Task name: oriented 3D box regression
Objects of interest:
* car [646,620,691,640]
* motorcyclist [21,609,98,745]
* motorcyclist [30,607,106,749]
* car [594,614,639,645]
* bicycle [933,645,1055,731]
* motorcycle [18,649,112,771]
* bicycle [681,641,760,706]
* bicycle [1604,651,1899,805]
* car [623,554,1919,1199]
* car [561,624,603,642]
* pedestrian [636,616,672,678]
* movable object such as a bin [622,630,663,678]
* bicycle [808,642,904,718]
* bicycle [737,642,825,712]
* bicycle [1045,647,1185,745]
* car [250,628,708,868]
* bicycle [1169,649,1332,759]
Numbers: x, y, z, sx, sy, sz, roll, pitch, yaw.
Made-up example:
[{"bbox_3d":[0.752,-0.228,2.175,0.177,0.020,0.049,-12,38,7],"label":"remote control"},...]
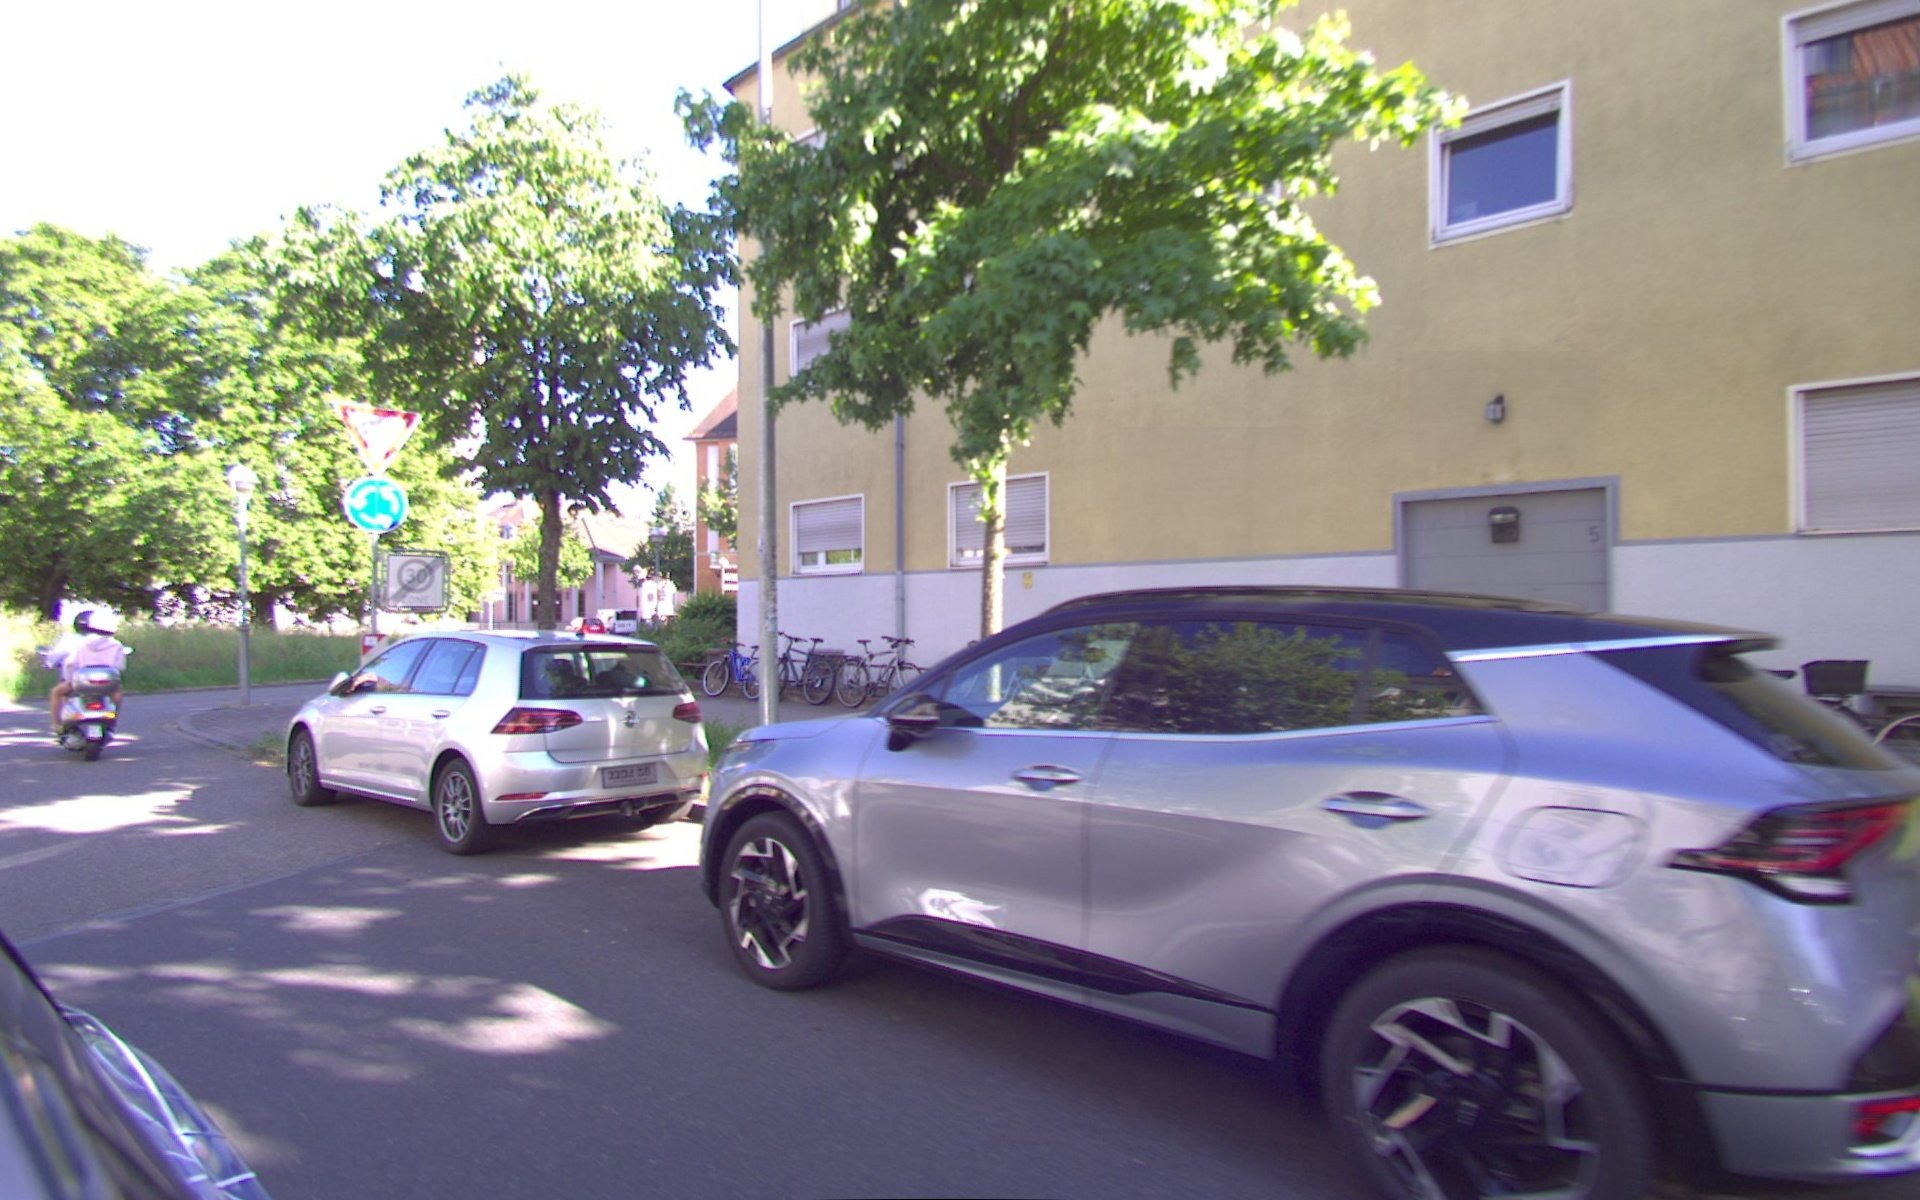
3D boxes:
[{"bbox_3d":[-21.537,2.203,74.677,1.716,1.491,4.007,1,-2,-39],"label":"car"},{"bbox_3d":[-9.669,0.806,10.871,0.519,1.413,0.547,-1,-2,41],"label":"motorcyclist"},{"bbox_3d":[-9.311,0.791,10.564,0.403,1.437,0.538,-1,-2,41],"label":"motorcyclist"},{"bbox_3d":[-23.441,1.995,68.956,1.966,2.029,4.010,1,-2,-34],"label":"car"},{"bbox_3d":[0.407,1.081,12.851,1.681,1.008,0.430,-2,-2,42],"label":"bicycle"},{"bbox_3d":[-9.644,1.139,10.890,1.632,1.184,0.547,-1,-2,41],"label":"motorcycle"},{"bbox_3d":[-3.939,1.186,16.599,1.544,1.008,0.471,-2,-2,42],"label":"bicycle"},{"bbox_3d":[6.085,0.935,7.864,1.748,1.034,0.534,-1,-2,43],"label":"bicycle"},{"bbox_3d":[0.786,0.757,3.794,4.731,1.577,1.674,-2,-2,40],"label":"car"},{"bbox_3d":[-24.890,2.153,66.601,1.739,1.187,4.011,1,-2,-33],"label":"car"},{"bbox_3d":[-8.187,1.244,27.091,0.665,1.628,0.686,-2,-2,44],"label":"pedestrian"},{"bbox_3d":[-8.248,1.394,26.287,0.760,1.205,0.843,0,-2,5],"label":"movable object such as a bin"},{"bbox_3d":[-1.492,1.109,14.347,1.544,1.008,0.448,-2,-2,42],"label":"bicycle"},{"bbox_3d":[-2.750,1.148,15.465,1.544,1.008,0.470,-2,-2,42],"label":"bicycle"},{"bbox_3d":[1.740,1.058,11.517,1.544,1.008,0.506,-2,-2,42],"label":"bicycle"},{"bbox_3d":[-3.971,0.953,8.099,3.989,1.453,1.743,-1,-2,38],"label":"car"},{"bbox_3d":[2.941,1.026,10.359,0.509,1.008,1.545,1,-2,-45],"label":"bicycle"}]
